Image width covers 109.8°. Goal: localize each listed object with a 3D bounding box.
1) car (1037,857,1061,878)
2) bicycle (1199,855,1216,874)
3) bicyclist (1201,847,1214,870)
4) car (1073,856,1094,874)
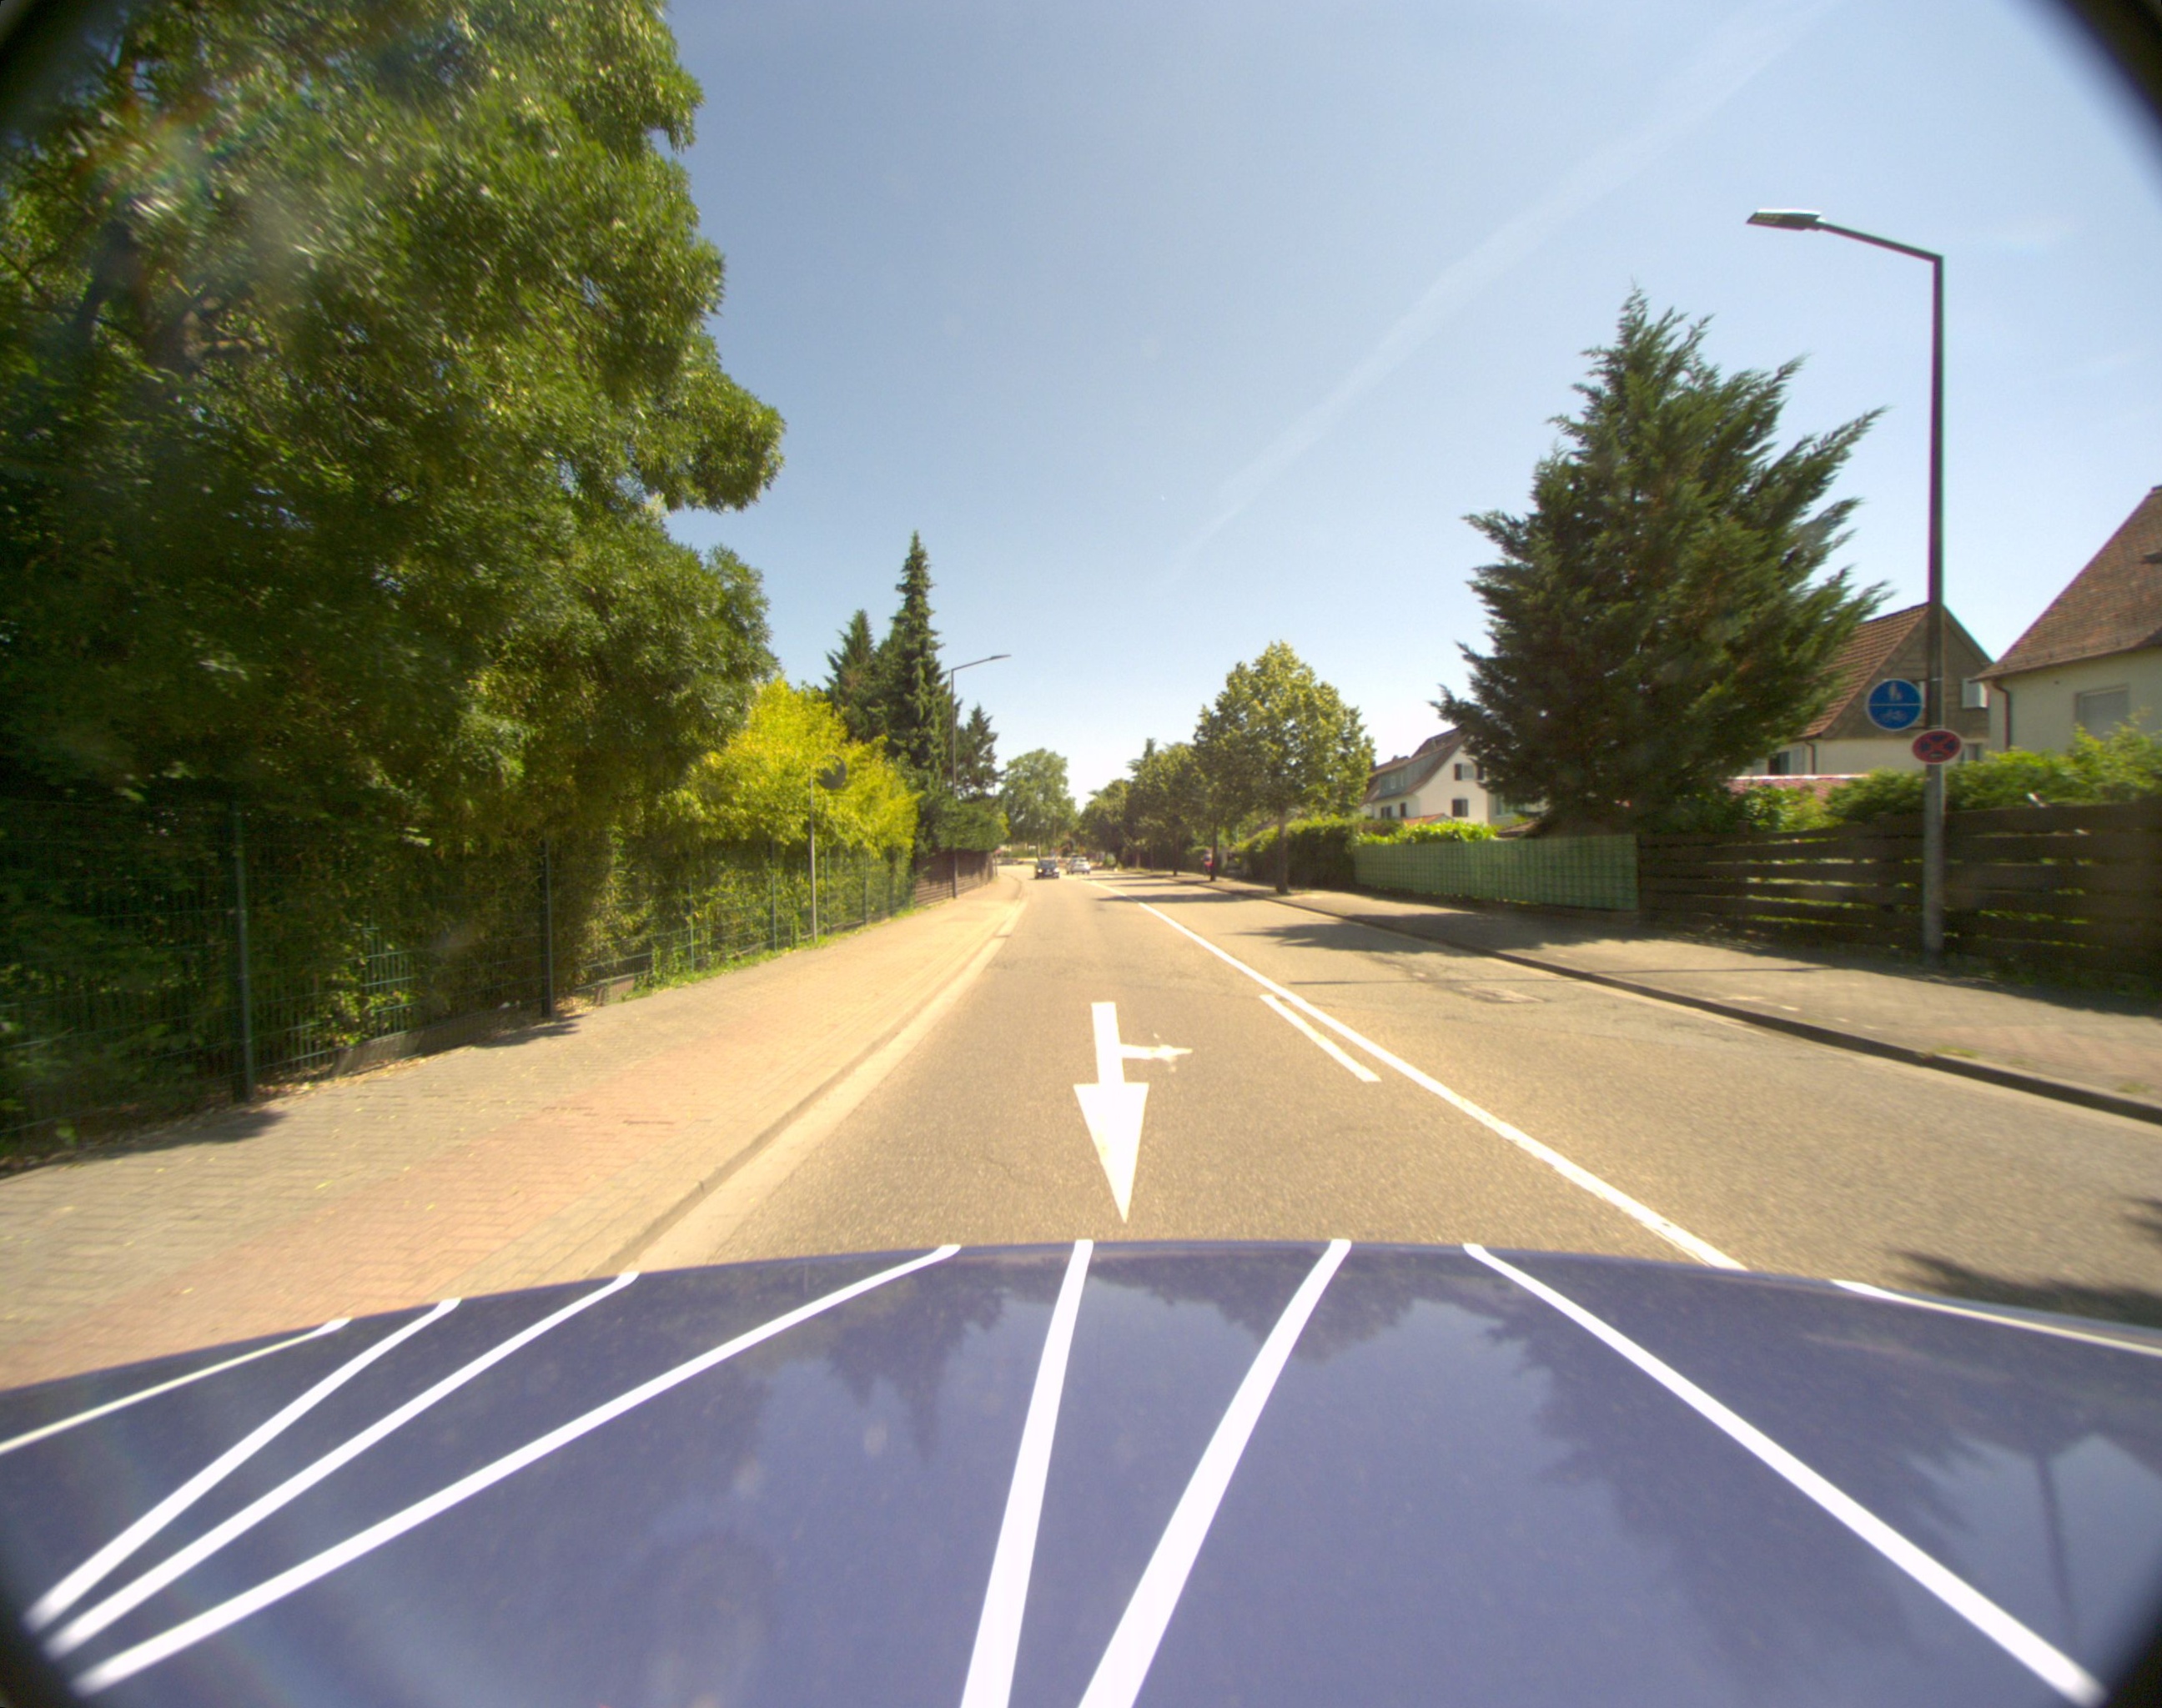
[{"bbox_3d":[-2.432,0.955,56.800,1.608,1.436,3.907,-2,1,-5],"label":"car"},{"bbox_3d":[7.749,0.638,46.605,0.634,1.173,1.815,0,0,-3],"label":"bicycle"},{"bbox_3d":[7.743,0.295,46.606,0.630,1.400,0.676,0,0,-3],"label":"bicyclist"},{"bbox_3d":[0.222,0.913,66.454,1.616,1.474,3.706,-1,0,-3],"label":"car"}]
